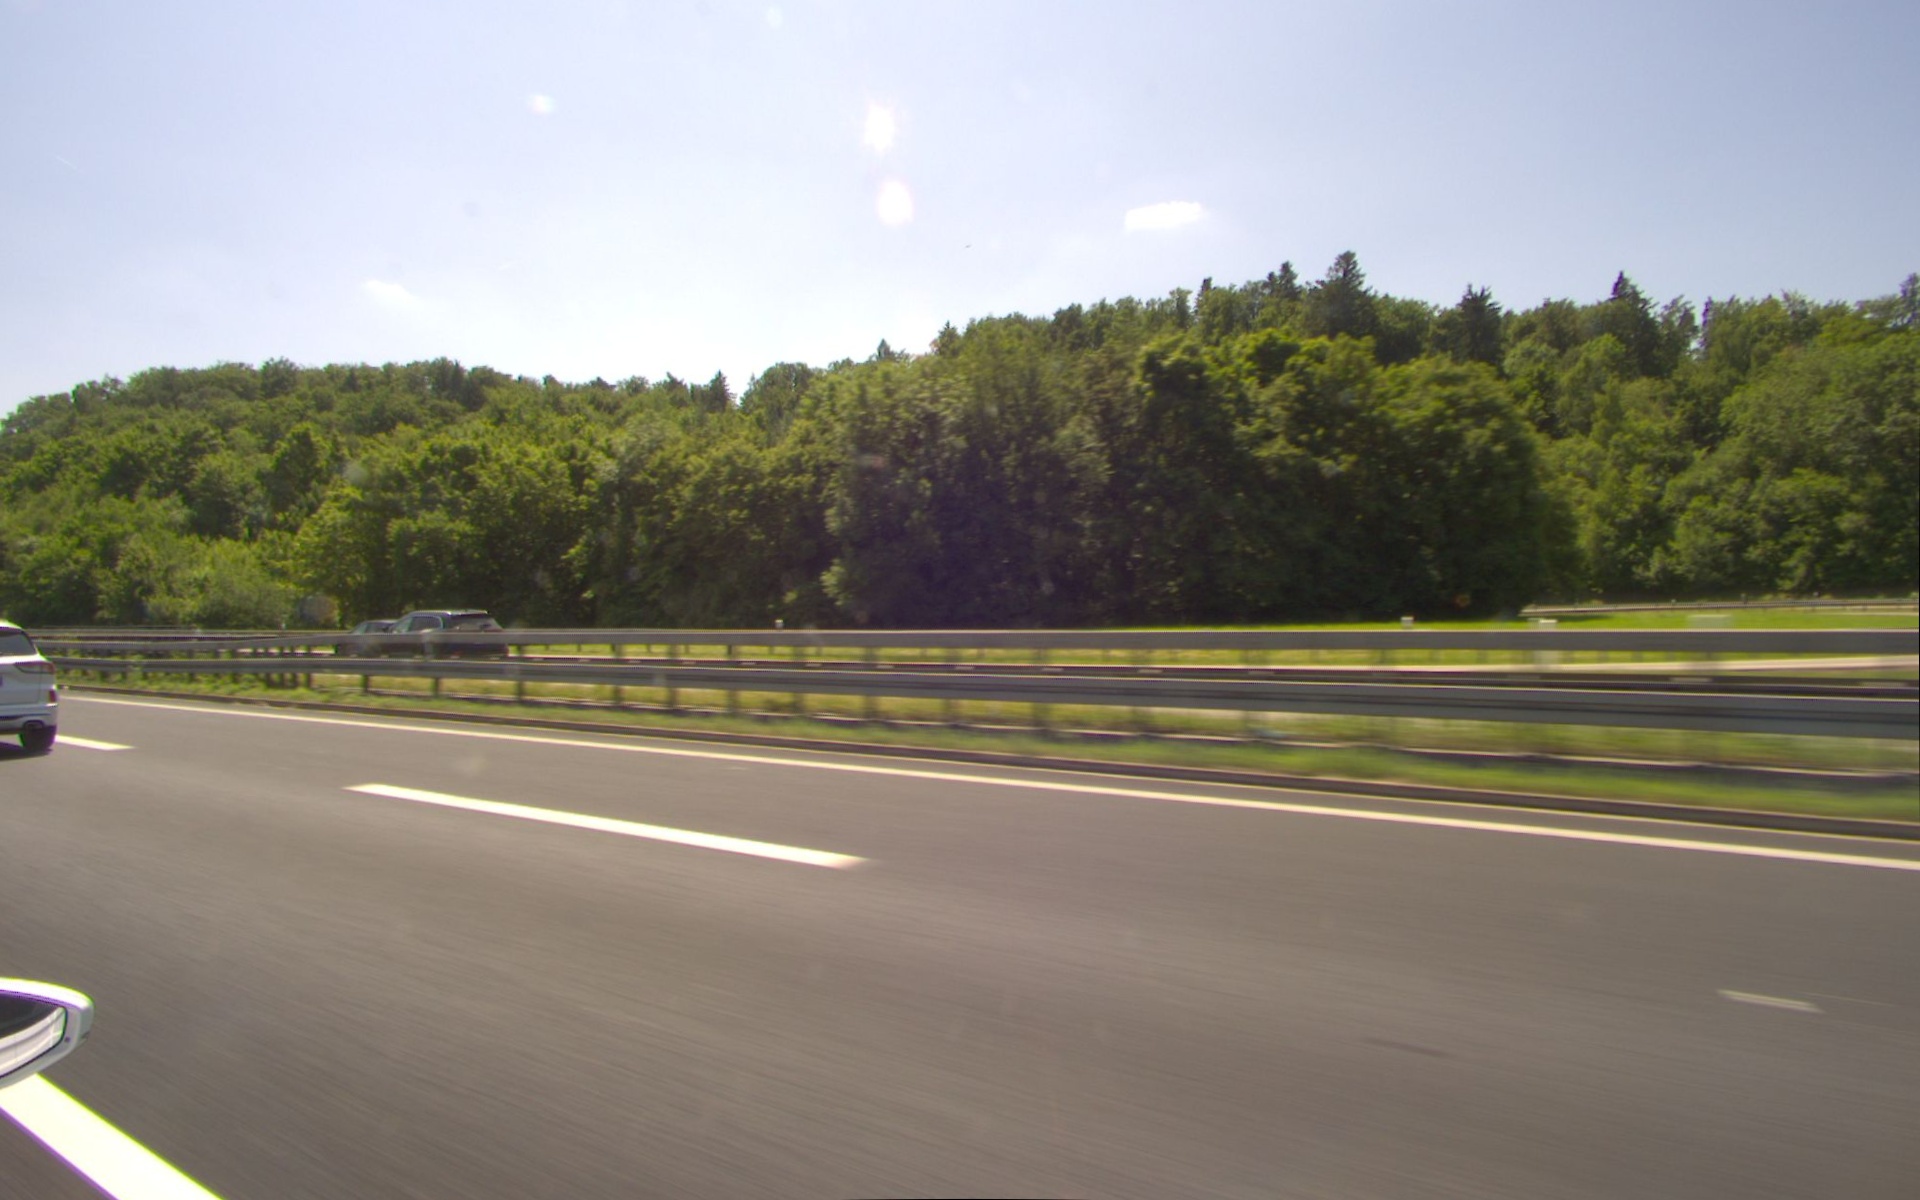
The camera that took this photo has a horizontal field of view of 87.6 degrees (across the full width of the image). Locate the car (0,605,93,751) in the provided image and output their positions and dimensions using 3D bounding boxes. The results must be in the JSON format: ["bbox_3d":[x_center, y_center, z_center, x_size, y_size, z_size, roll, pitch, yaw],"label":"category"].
[{"bbox_3d":[-13.038,0.955,12.678,4.405,1.683,1.989,-2,-1,33],"label":"car"}]

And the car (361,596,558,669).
[{"bbox_3d":[-12.837,0.832,25.554,5.548,1.683,1.989,-2,-1,33],"label":"car"}]
